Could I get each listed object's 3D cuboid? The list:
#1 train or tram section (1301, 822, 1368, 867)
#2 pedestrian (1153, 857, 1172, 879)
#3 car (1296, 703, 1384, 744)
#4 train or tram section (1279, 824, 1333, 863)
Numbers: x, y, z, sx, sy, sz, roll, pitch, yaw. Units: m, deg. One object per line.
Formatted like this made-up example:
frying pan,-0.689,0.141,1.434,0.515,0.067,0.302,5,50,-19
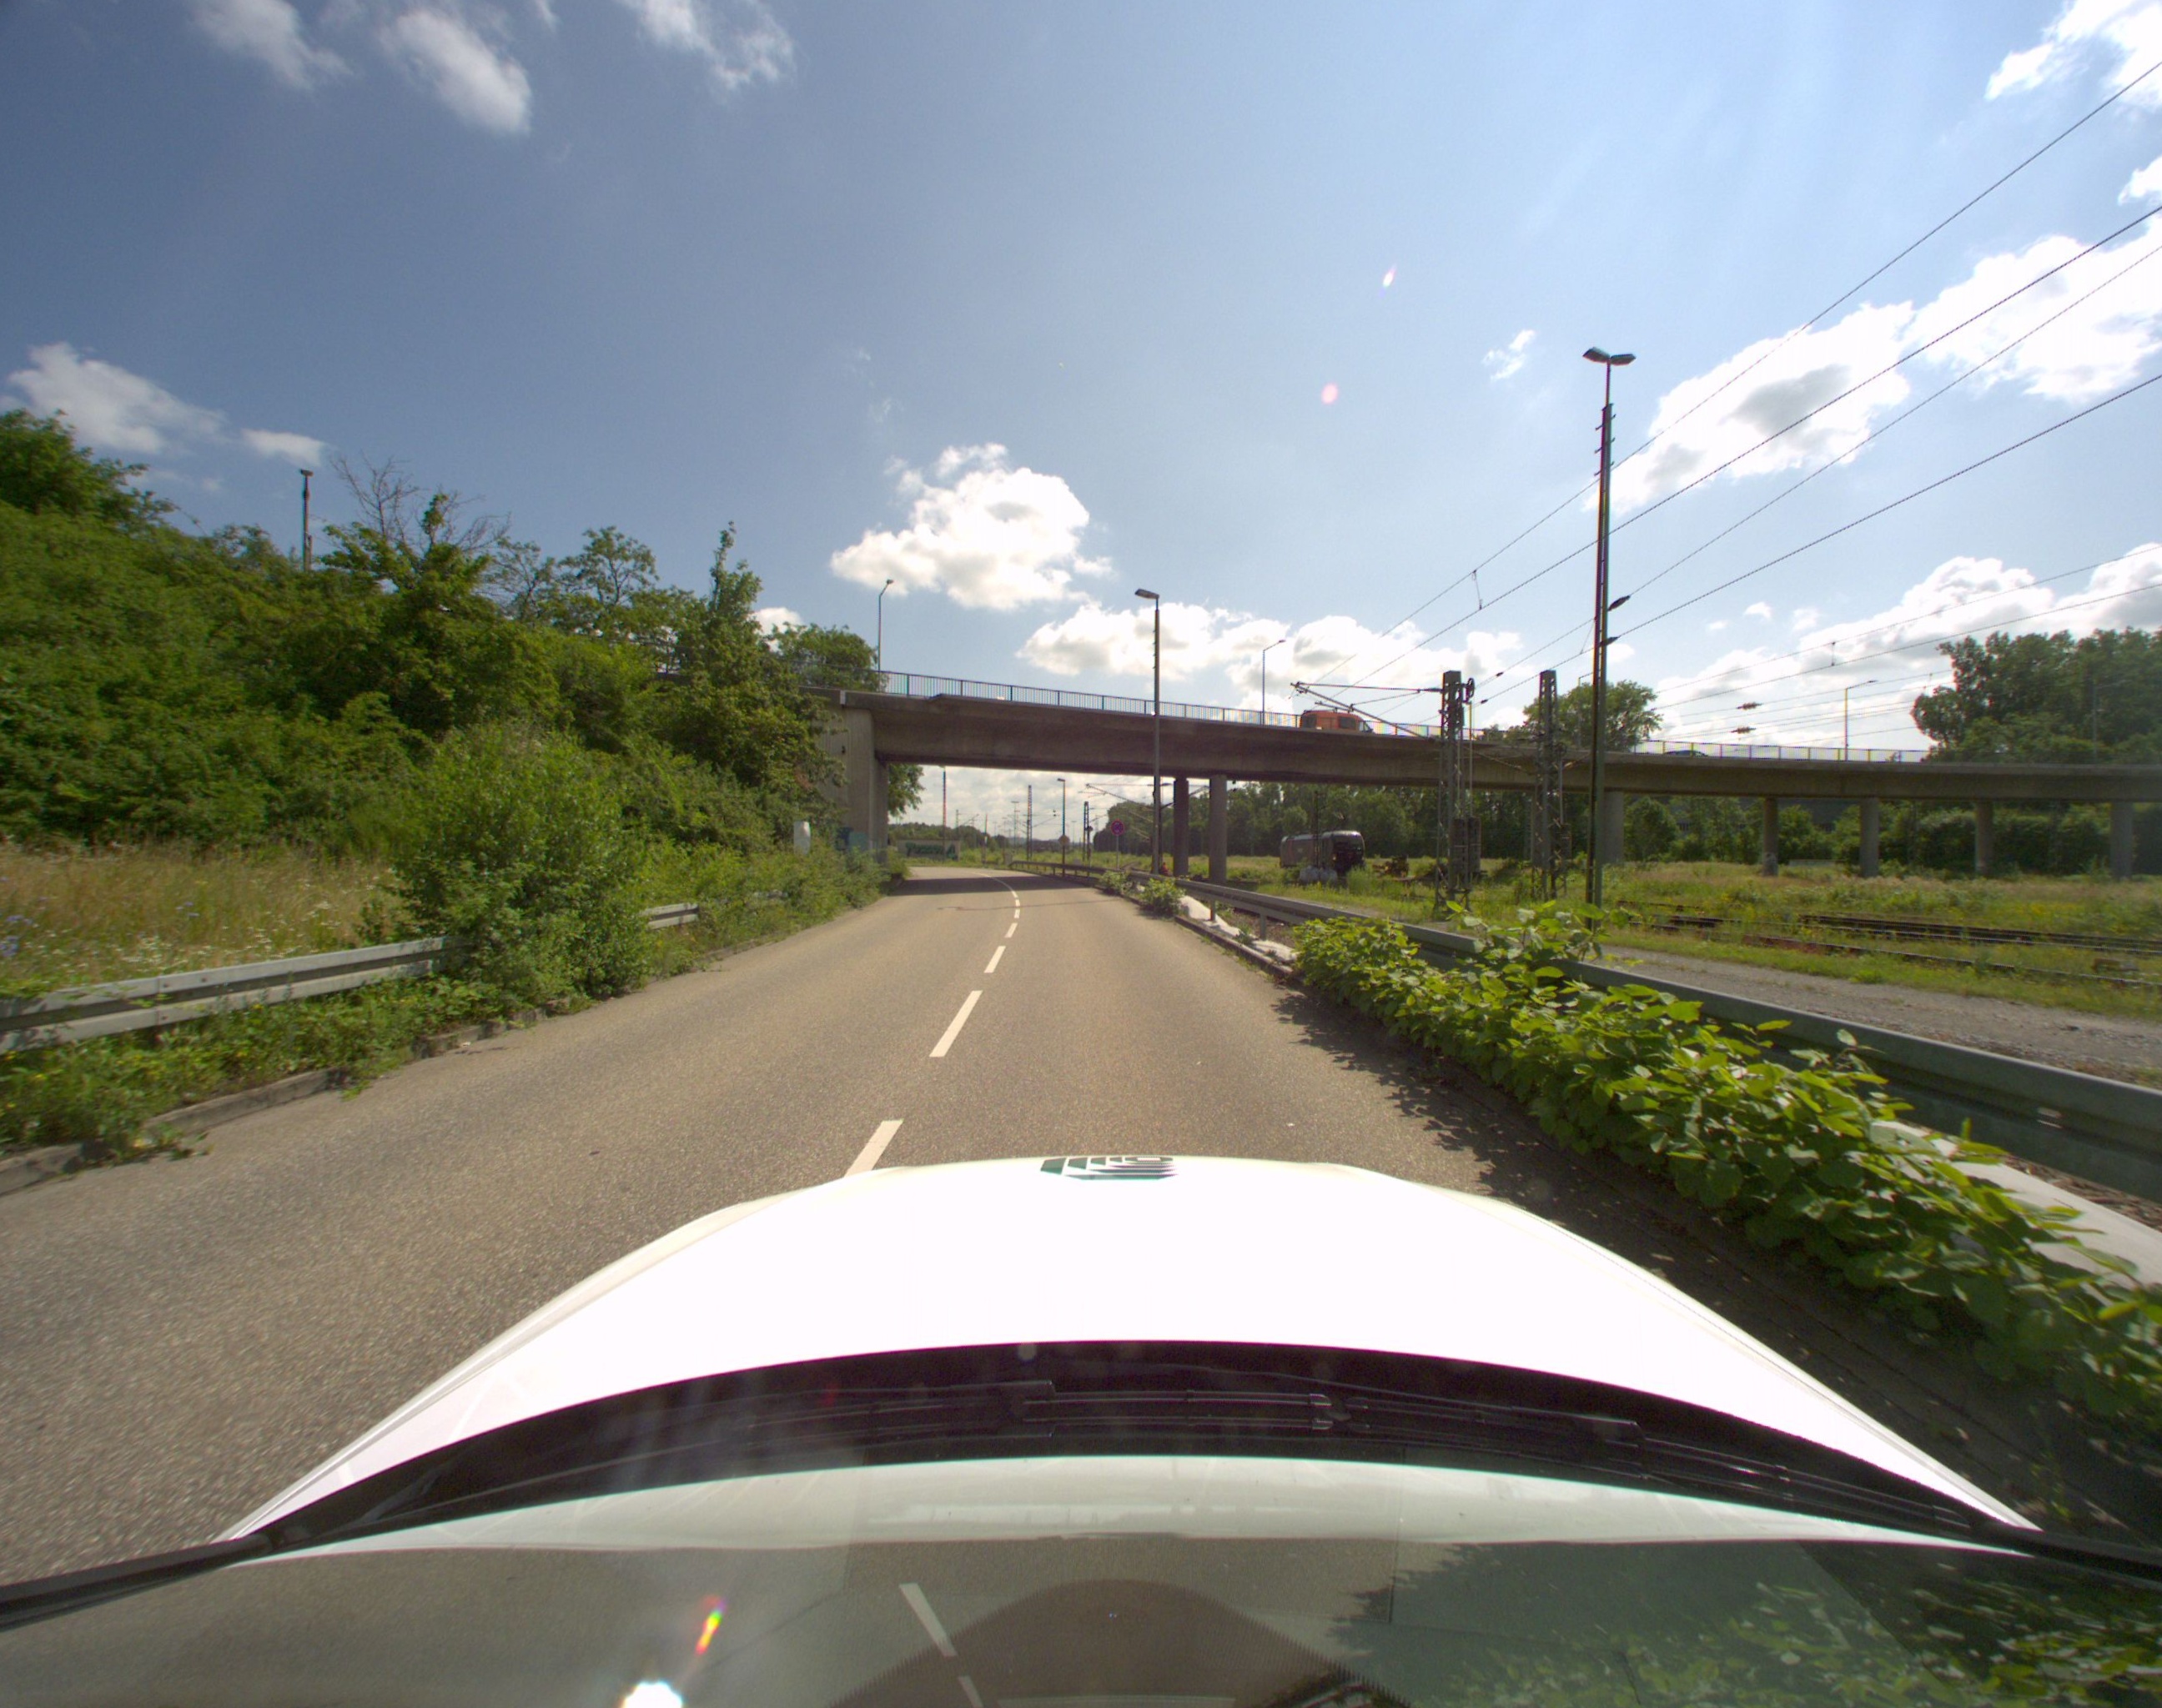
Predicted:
train or tram section,21.082,-0.712,68.315,2.881,3.509,8.562,0,-1,0
pedestrian,5.793,1.008,58.136,1.108,1.540,1.577,0,-1,-3
car,16.327,-8.153,51.236,5.348,2.014,1.983,-2,-1,-27
train or tram section,21.076,-0.939,76.771,2.747,3.477,8.236,0,-1,0
